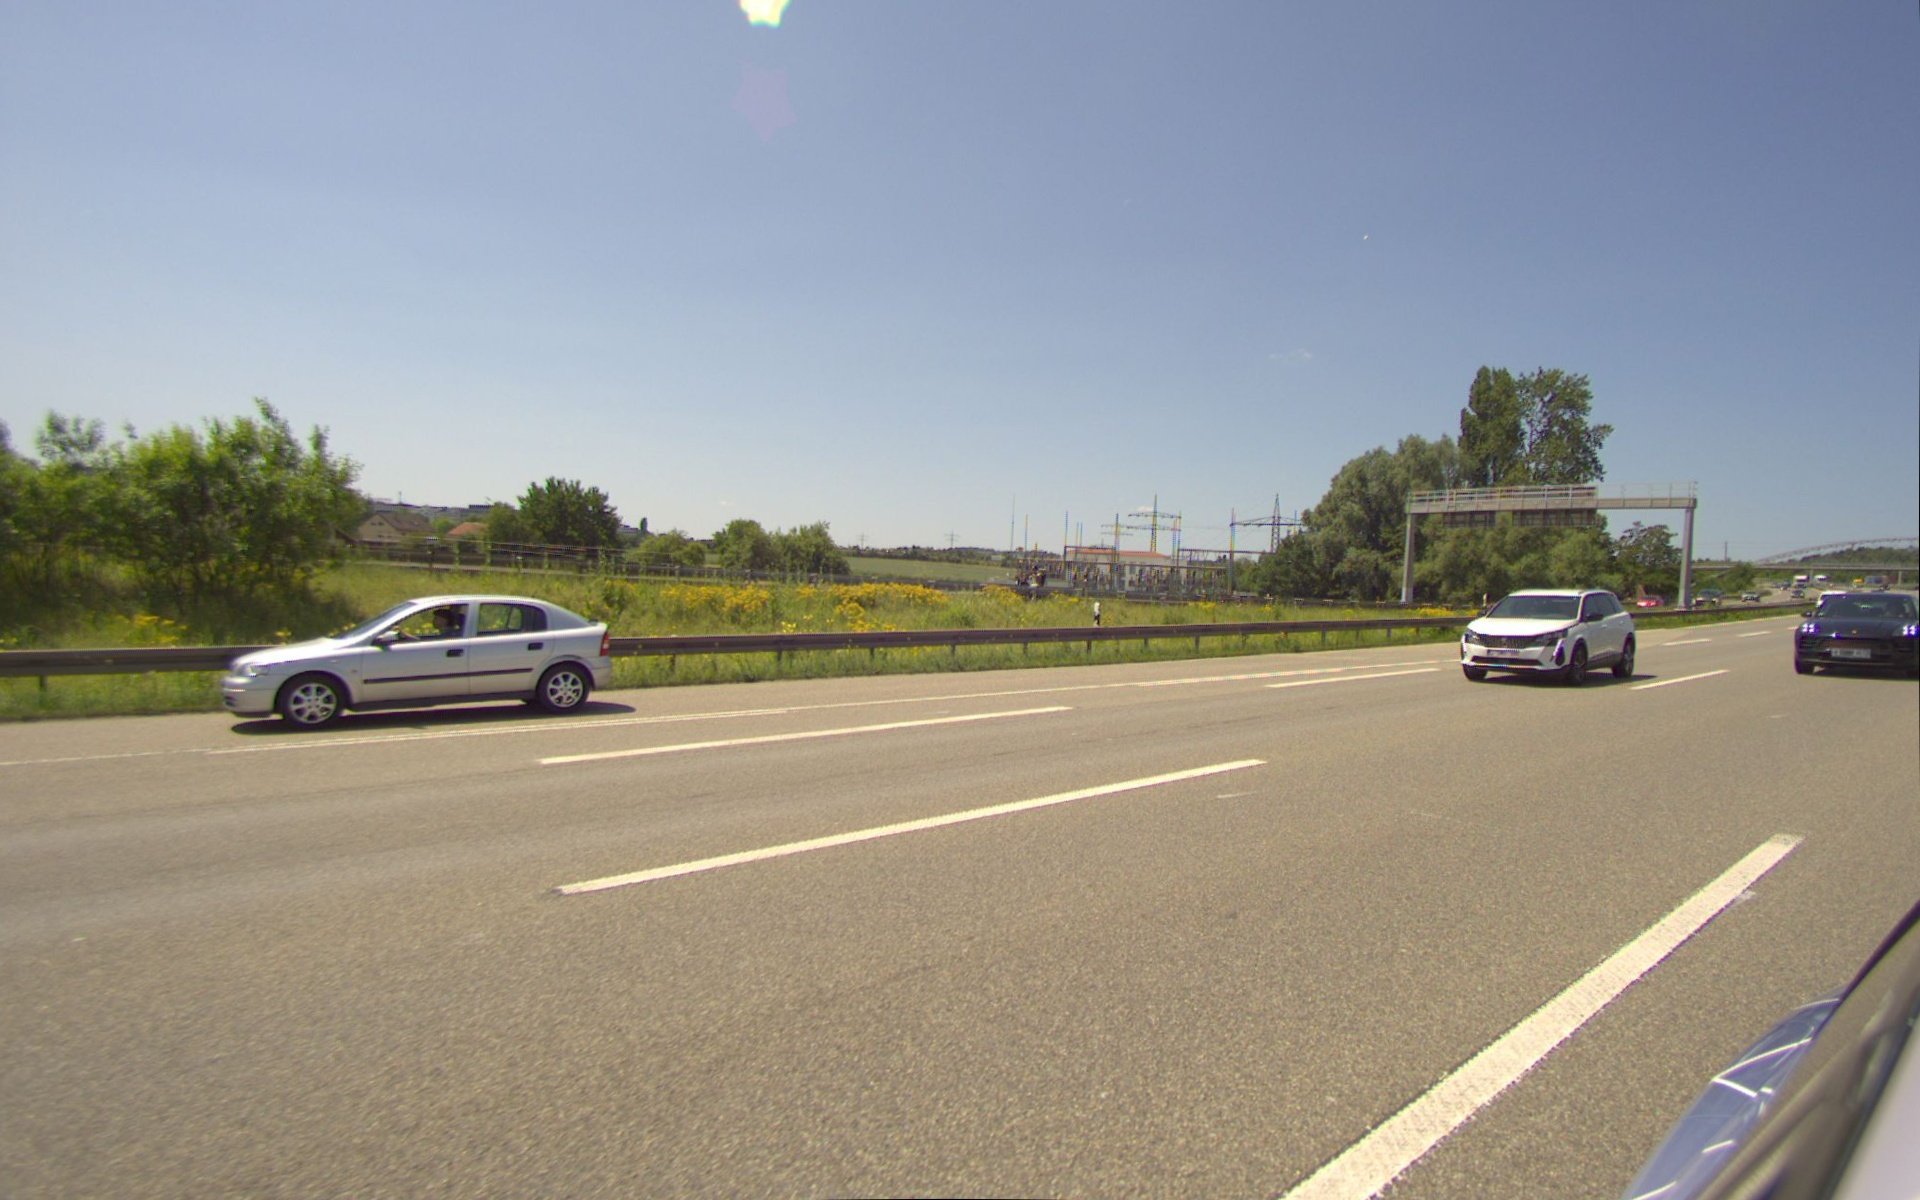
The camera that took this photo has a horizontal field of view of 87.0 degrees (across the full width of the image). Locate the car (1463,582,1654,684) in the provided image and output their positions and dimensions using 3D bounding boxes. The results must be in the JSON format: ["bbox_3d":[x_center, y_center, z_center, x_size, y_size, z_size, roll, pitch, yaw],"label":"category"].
[{"bbox_3d":[10.969,0.493,18.403,4.541,1.611,1.746,-1,2,-42],"label":"car"}]

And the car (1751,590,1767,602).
[{"bbox_3d":[114.148,-0.592,144.506,1.697,1.594,4.068,1,2,40],"label":"car"}]

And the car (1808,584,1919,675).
[{"bbox_3d":[18.394,0.500,20.142,4.064,1.615,1.928,-1,2,-44],"label":"car"}]

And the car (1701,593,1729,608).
[{"bbox_3d":[85.919,0.064,115.149,4.055,1.594,1.703,-1,2,-40],"label":"car"}]

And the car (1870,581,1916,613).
[{"bbox_3d":[57.934,-0.214,62.798,4.224,1.943,1.806,-1,2,-43],"label":"car"}]

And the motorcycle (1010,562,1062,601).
[{"bbox_3d":[2.807,-0.686,37.334,1.833,1.383,0.763,-1,1,-34],"label":"motorcycle"}]

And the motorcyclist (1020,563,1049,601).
[{"bbox_3d":[2.740,-0.654,37.286,0.861,1.383,0.671,-1,1,-33],"label":"motorcyclist"}]

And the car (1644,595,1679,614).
[{"bbox_3d":[64.478,0.397,93.008,4.055,1.594,1.703,-1,2,-40],"label":"car"}]

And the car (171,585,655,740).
[{"bbox_3d":[-6.243,0.578,11.958,4.756,1.455,1.791,-1,1,-36],"label":"car"}]
